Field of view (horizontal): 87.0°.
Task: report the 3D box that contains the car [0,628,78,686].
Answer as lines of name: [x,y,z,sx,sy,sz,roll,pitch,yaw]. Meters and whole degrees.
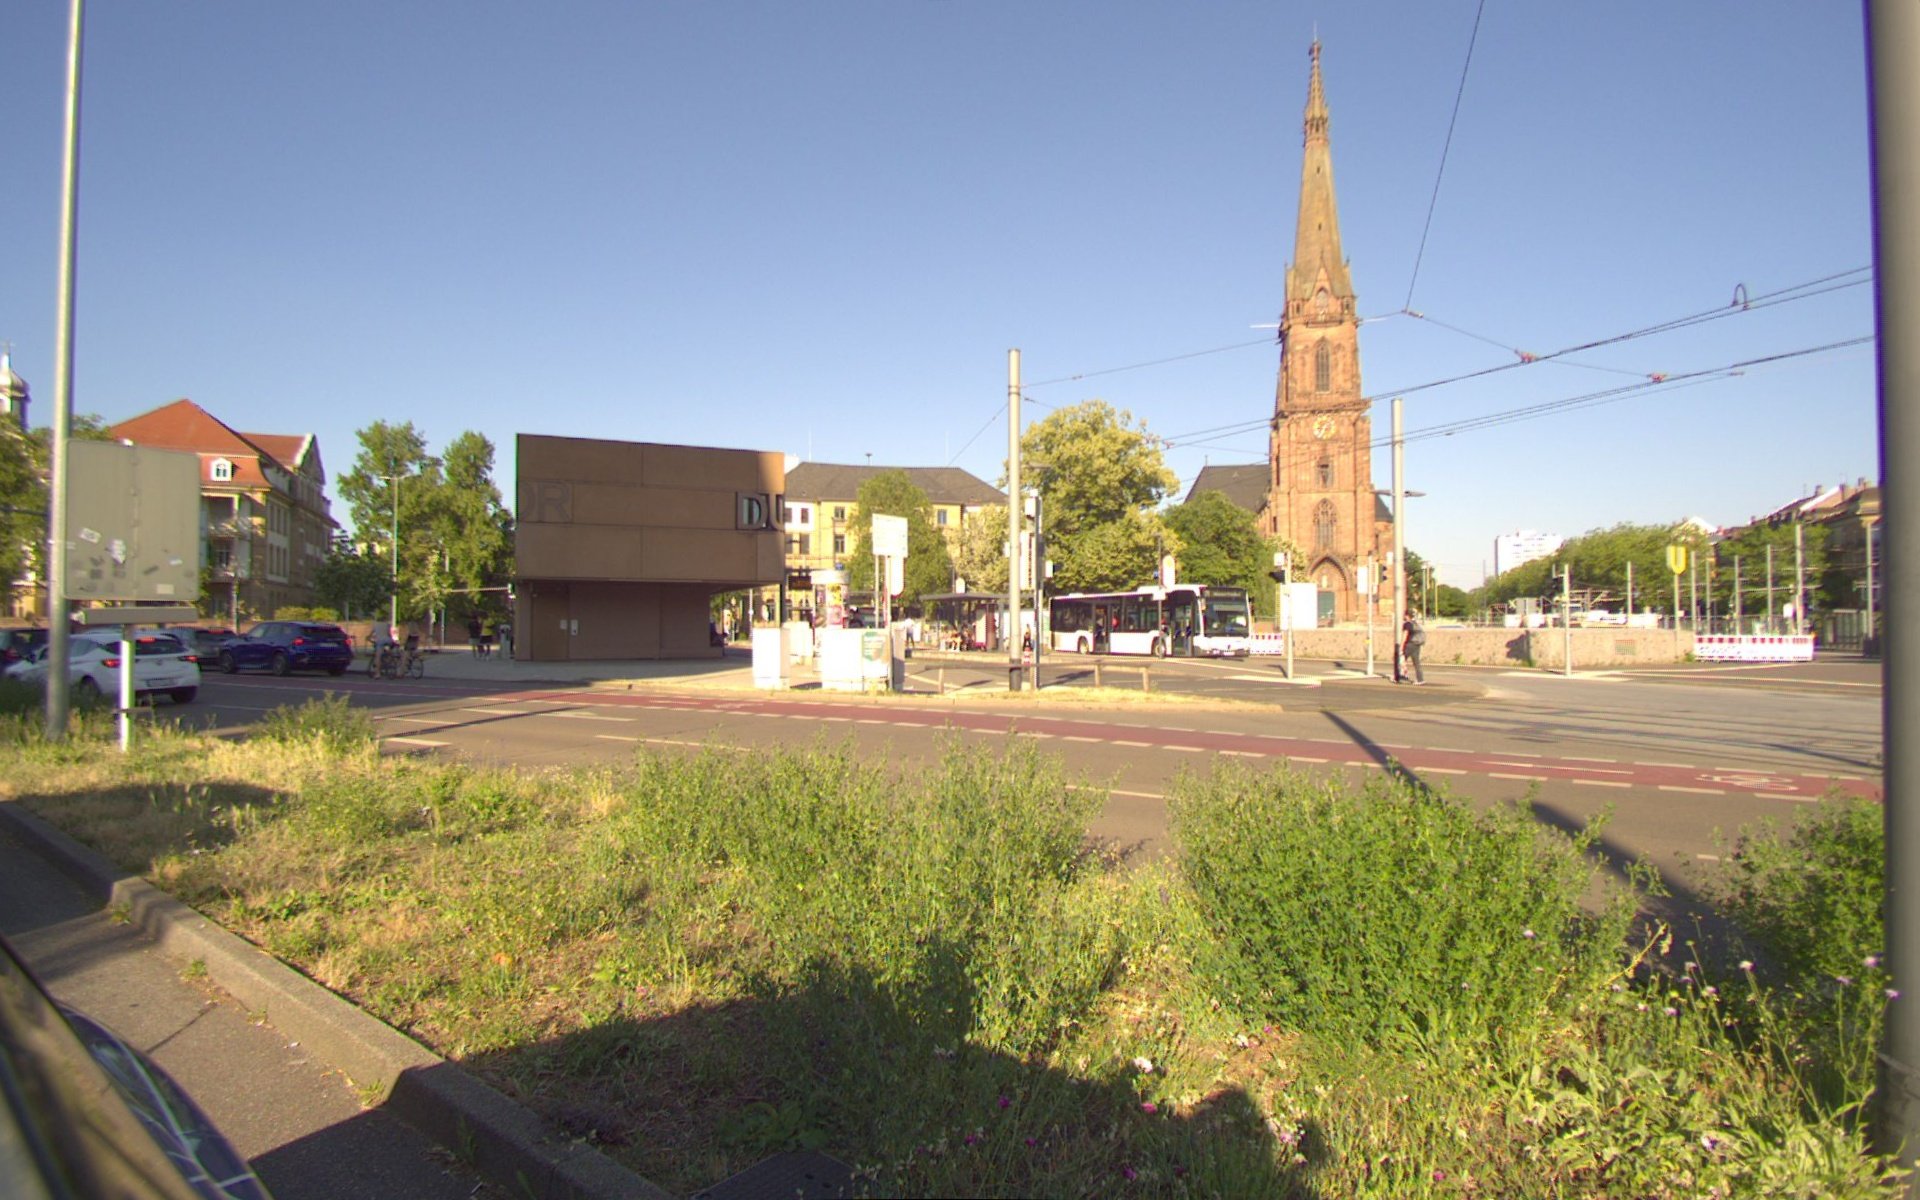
car: [-26.917,1.555,28.583,4.171,1.471,1.739,-1,0,29]

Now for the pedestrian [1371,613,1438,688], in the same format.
pedestrian: [10.482,1.173,23.883,1.025,1.696,1.007,-1,0,-25]

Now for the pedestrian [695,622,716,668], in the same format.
pedestrian: [-11.360,2.000,45.152,0.762,2.029,0.778,-1,0,-2]

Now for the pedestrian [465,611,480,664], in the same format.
pedestrian: [-19.087,1.449,39.607,0.460,2.029,0.658,-1,0,-32]

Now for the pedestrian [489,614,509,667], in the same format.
pedestrian: [-18.024,1.576,39.573,0.645,2.029,0.470,-1,0,-29]

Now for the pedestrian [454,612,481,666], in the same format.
pedestrian: [-18.714,1.462,38.459,0.765,2.029,0.775,-1,0,-37]

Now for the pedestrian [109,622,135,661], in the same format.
pedestrian: [-42.076,2.082,50.824,0.787,1.911,0.612,0,-2,-9]

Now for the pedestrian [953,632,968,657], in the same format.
pedestrian: [0.021,2.191,49.907,0.531,1.196,0.660,-1,0,-21]

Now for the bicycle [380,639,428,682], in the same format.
bicycle: [-16.055,1.737,29.231,1.388,1.201,0.461,-1,0,24]

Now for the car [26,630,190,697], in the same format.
car: [-21.630,1.544,25.665,4.375,1.503,1.831,-1,0,30]

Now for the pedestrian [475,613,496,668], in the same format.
pedestrian: [-17.811,1.496,37.990,0.645,2.029,0.470,-1,0,-29]

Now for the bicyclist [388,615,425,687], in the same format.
bicyclist: [-15.958,1.455,29.178,0.705,2.029,0.605,-1,-2,25]

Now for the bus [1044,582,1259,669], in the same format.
bus: [7.679,0.966,43.380,2.655,3.174,12.216,-1,0,-23]

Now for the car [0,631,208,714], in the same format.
car: [-17.374,1.398,20.321,4.159,1.471,1.744,-1,0,22]

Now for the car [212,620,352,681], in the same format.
car: [-20.146,1.454,30.049,4.170,1.703,1.739,-1,-2,29]

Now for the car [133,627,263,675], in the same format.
car: [-25.126,1.663,33.357,4.375,1.503,1.831,-1,-4,30]

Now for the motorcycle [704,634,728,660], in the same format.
motorcycle: [-10.144,1.955,42.072,0.935,1.075,0.331,-1,0,-11]

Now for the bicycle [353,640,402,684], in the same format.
bicycle: [-16.505,1.743,28.681,1.388,1.201,0.461,-1,0,24]

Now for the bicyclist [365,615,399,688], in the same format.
bicyclist: [-16.303,1.457,28.562,0.562,2.029,0.605,-1,-2,25]

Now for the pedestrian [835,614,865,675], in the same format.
pedestrian: [-3.259,1.320,30.032,0.702,1.771,0.584,-1,0,-30]
